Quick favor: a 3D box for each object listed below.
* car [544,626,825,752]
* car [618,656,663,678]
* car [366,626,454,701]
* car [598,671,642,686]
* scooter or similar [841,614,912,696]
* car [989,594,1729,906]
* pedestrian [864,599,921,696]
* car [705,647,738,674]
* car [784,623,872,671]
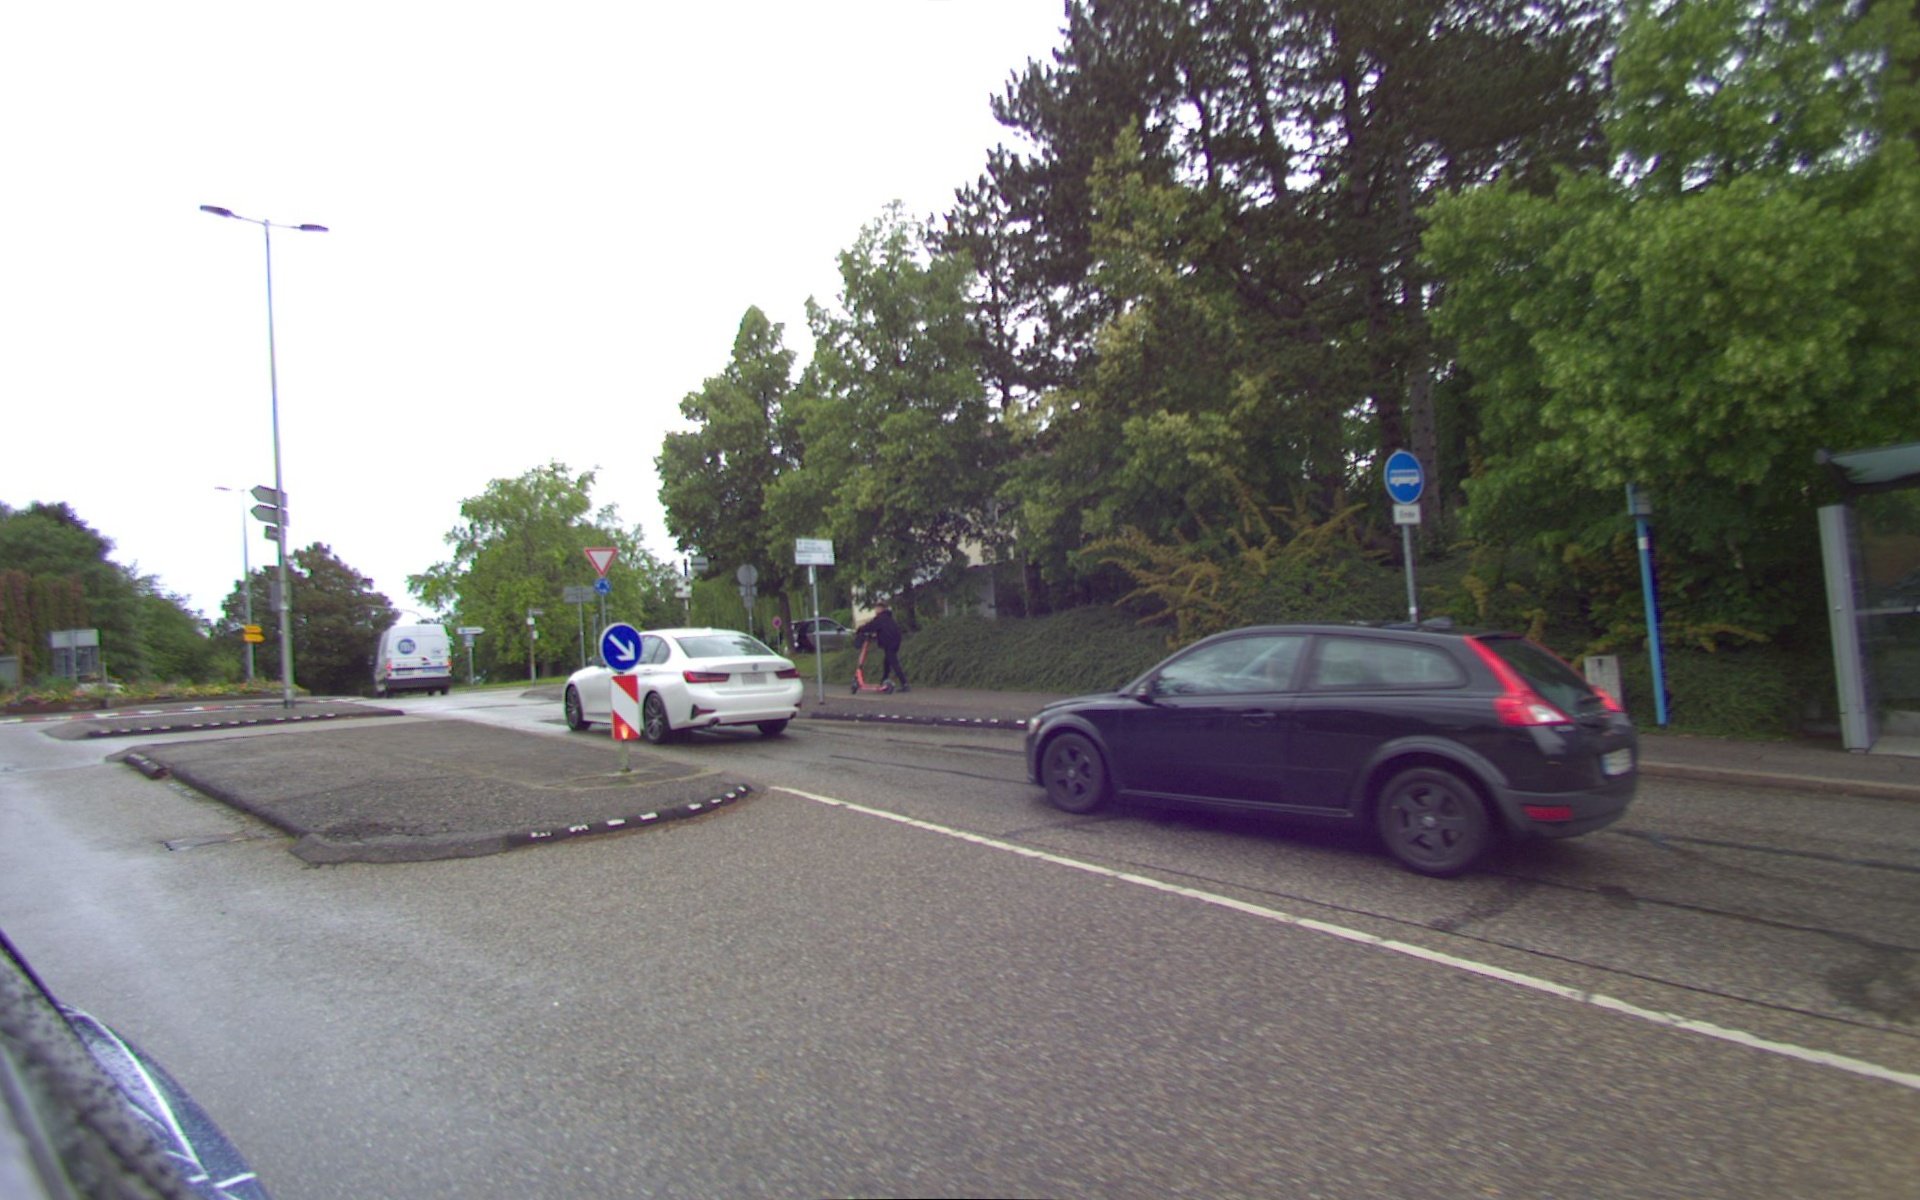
[{"bbox_3d":[-3.975,1.128,13.990,1.806,1.412,4.827,0,-3,-41],"label":"car"},{"bbox_3d":[-37.532,7.909,118.915,4.837,2.319,1.795,-1,-6,-10],"label":"car"},{"bbox_3d":[-19.864,2.337,36.416,2.138,2.434,5.408,0,-5,-35],"label":"car"},{"bbox_3d":[-32.594,7.517,96.971,3.795,1.321,1.563,-1,-6,-10],"label":"car"},{"bbox_3d":[-1.606,1.055,19.364,1.315,1.527,0.505,-3,-3,34],"label":"scooter or similar"},{"bbox_3d":[2.375,0.787,6.967,1.769,1.458,4.406,2,-3,-43],"label":"car"},{"bbox_3d":[-1.309,0.920,19.687,0.826,1.821,0.695,-4,-3,43],"label":"pedestrian"},{"bbox_3d":[-15.320,3.836,64.913,1.669,1.627,4.351,-1,-2,-18],"label":"car"},{"bbox_3d":[-4.658,1.654,35.597,2.775,1.553,1.703,-1,-3,-19],"label":"car"}]
